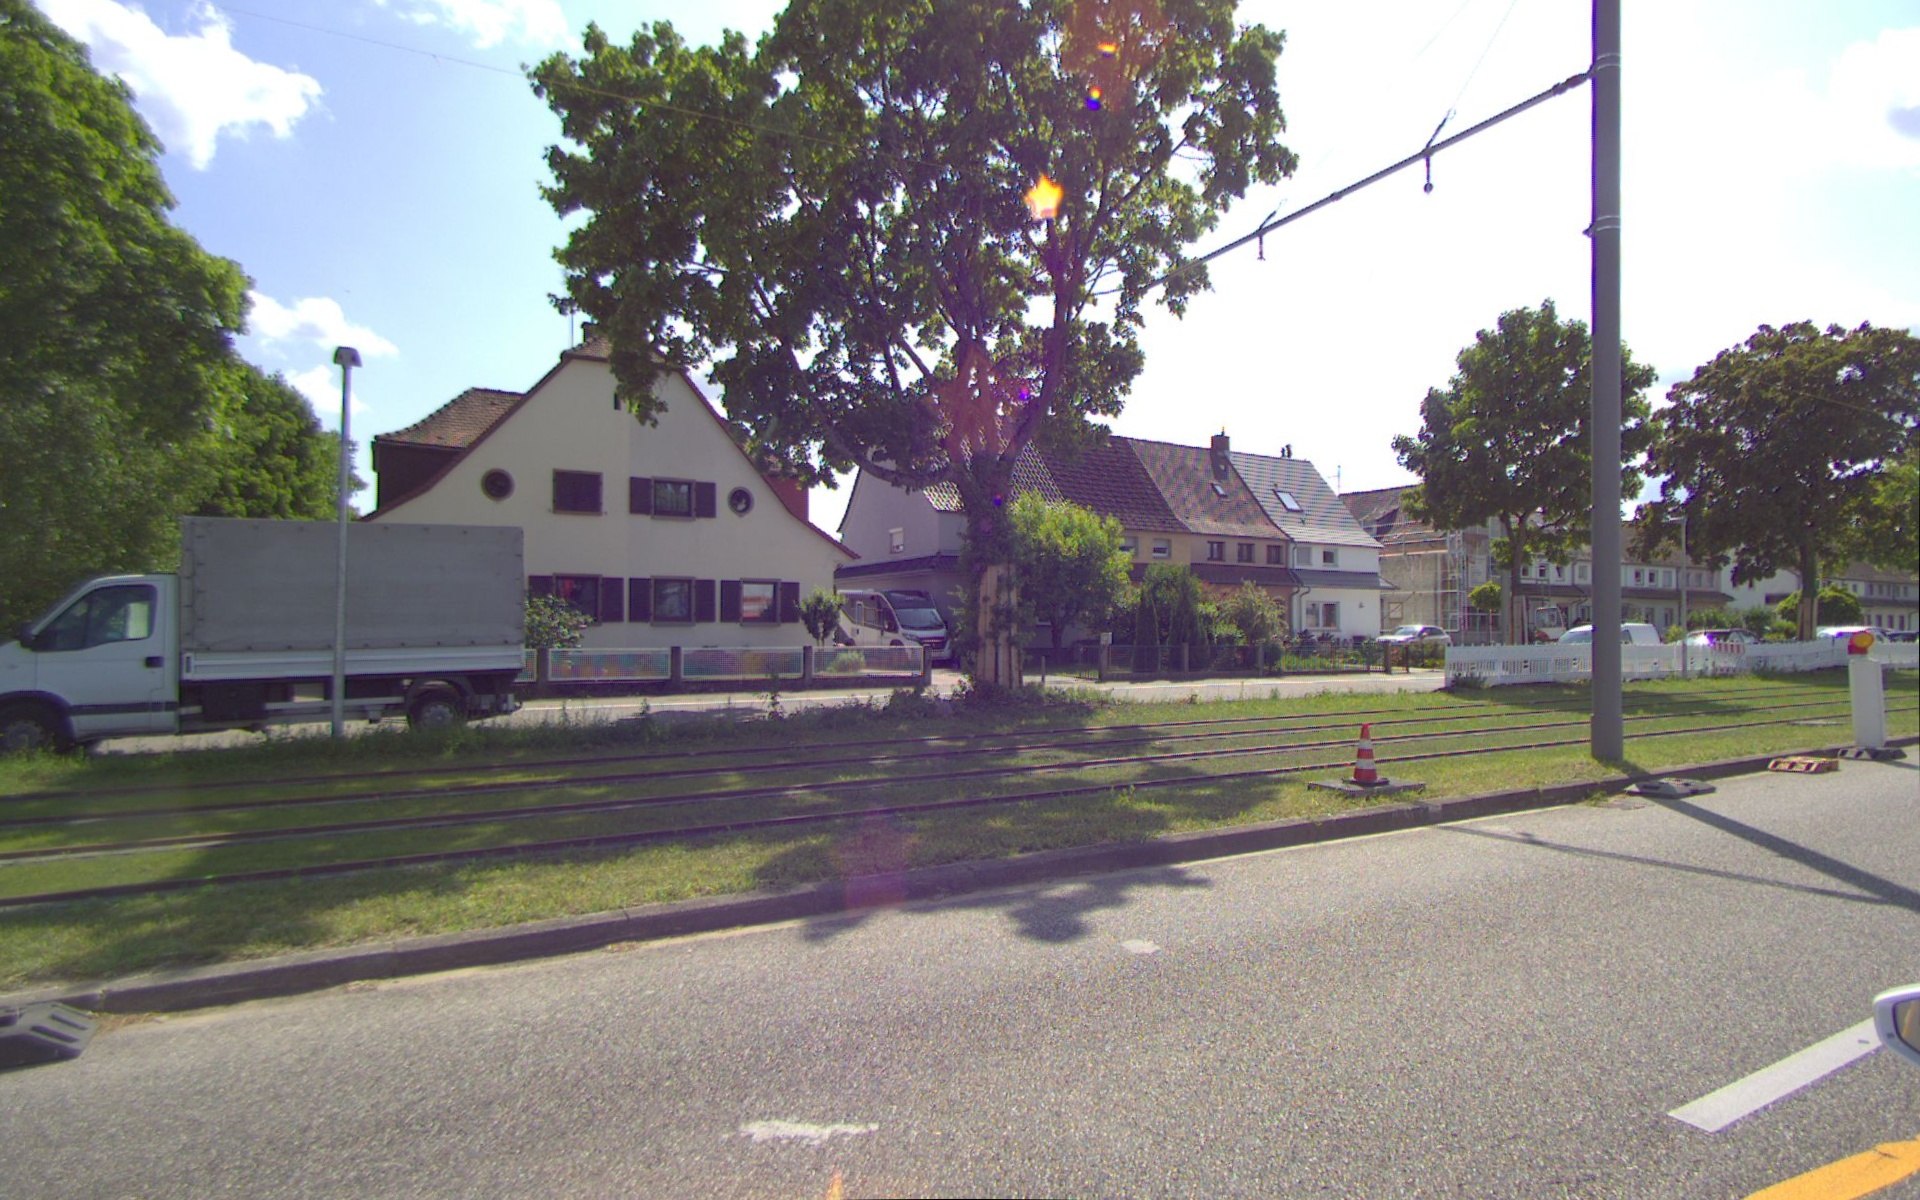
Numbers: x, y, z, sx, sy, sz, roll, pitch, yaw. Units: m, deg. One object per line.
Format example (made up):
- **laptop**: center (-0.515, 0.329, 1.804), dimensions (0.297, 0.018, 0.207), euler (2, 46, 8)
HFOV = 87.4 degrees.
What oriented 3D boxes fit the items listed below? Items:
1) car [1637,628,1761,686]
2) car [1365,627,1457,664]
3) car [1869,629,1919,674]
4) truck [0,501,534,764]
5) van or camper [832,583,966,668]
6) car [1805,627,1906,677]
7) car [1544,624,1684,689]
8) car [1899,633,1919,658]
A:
- **car**: center (24.291, 1.832, 33.004), dimensions (4.177, 1.797, 1.768), euler (1, -2, -30)
- **car**: center (19.988, 1.988, 44.498), dimensions (3.953, 1.539, 1.768), euler (1, -2, -30)
- **car**: center (40.644, 2.152, 42.704), dimensions (4.079, 1.829, 1.768), euler (1, -2, -30)
- **truck**: center (-8.830, 0.410, 12.967), dimensions (5.906, 2.817, 2.255), euler (1, -2, -31)
- **van or camper**: center (-2.354, 0.944, 36.614), dimensions (2.269, 2.801, 6.050), euler (1, -2, -32)
- **car**: center (35.361, 2.020, 39.646), dimensions (4.079, 1.892, 1.768), euler (1, -2, -30)
- **car**: center (19.571, 1.639, 30.030), dimensions (4.312, 1.845, 1.768), euler (1, -2, -30)
- **car**: center (70.023, 3.281, 72.760), dimensions (4.079, 1.745, 1.768), euler (1, -2, -30)
